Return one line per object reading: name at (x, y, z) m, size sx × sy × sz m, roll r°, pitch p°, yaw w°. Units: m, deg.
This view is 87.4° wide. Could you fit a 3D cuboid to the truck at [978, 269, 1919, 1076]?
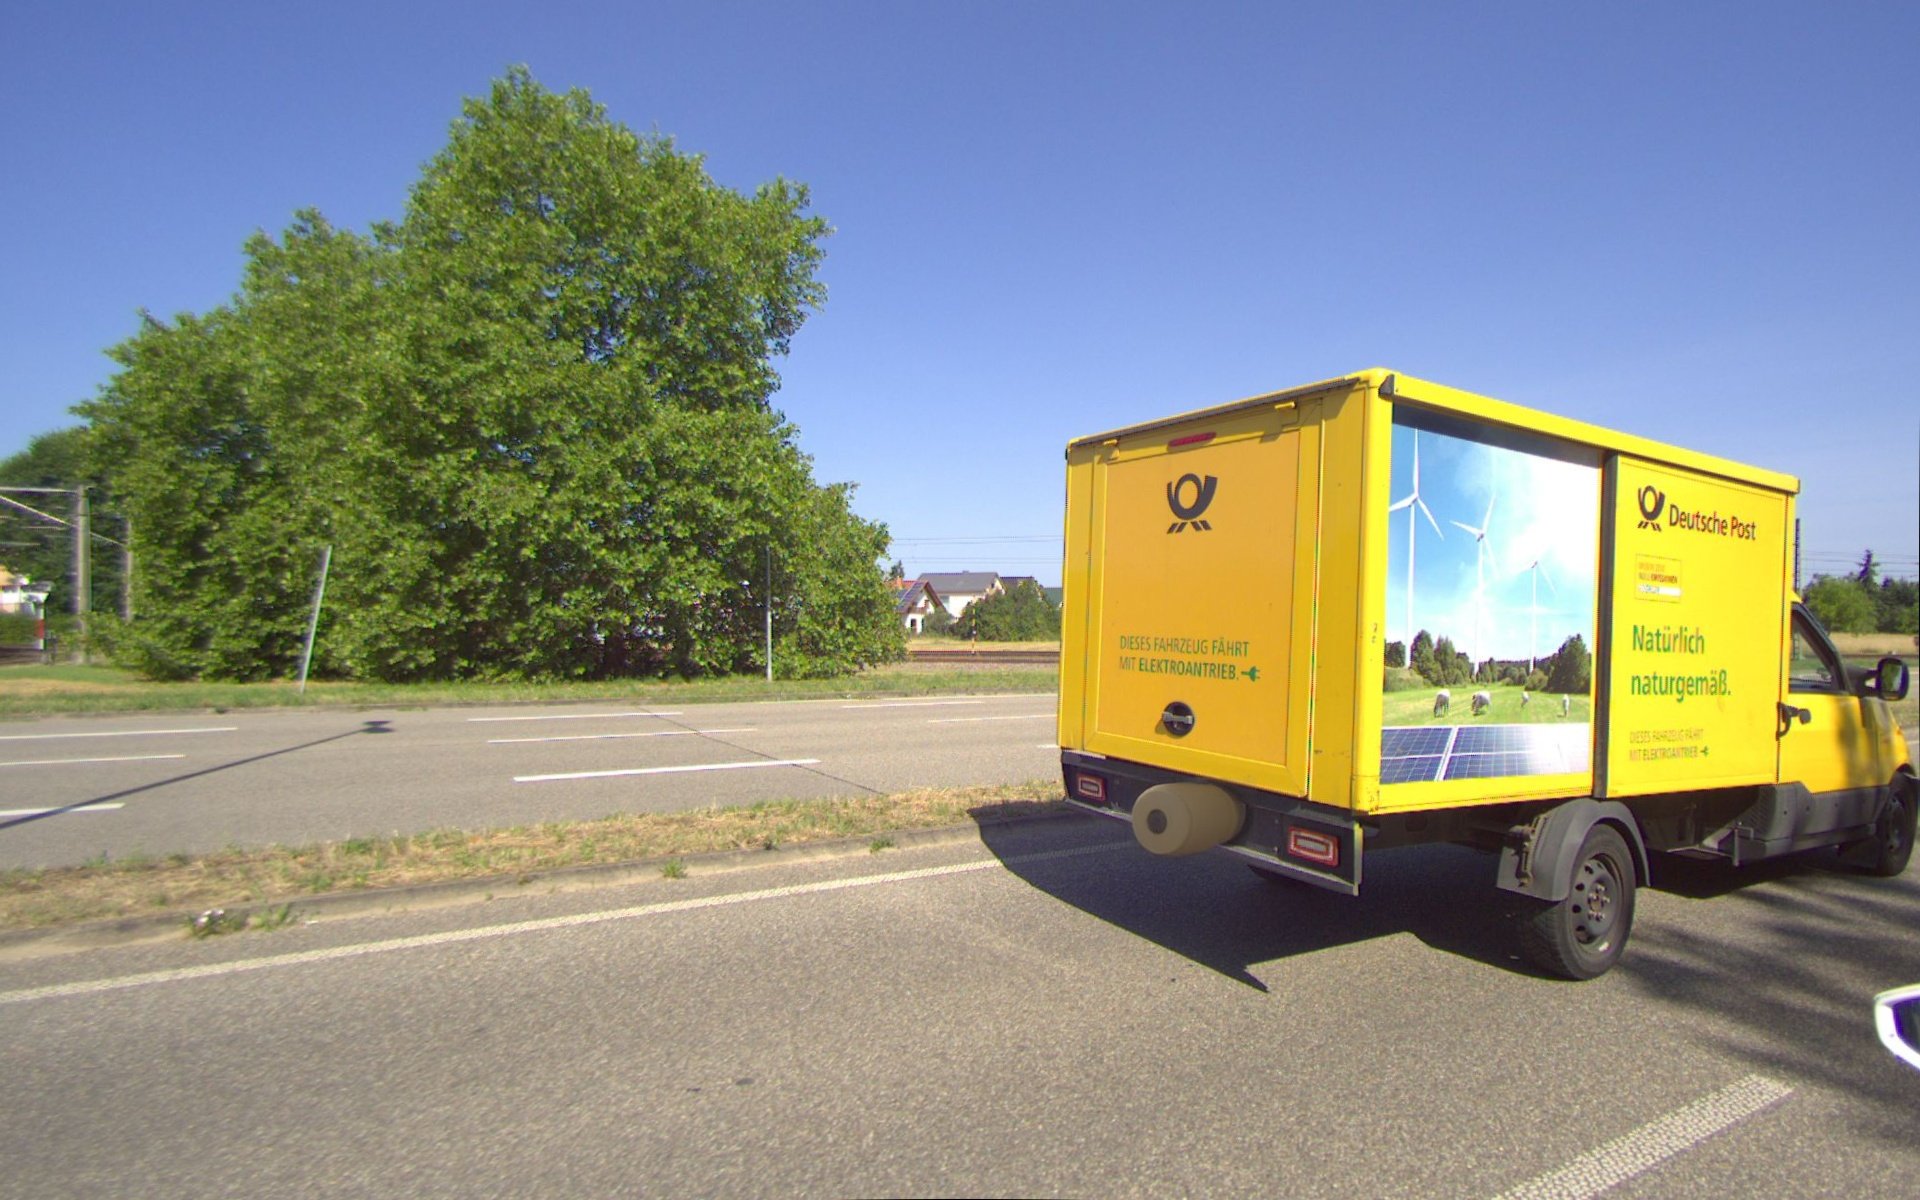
truck at (3.135, 0.277, 5.498) m, size 5.847 × 2.490 × 2.102 m, roll 1°, pitch -1°, yaw -30°
